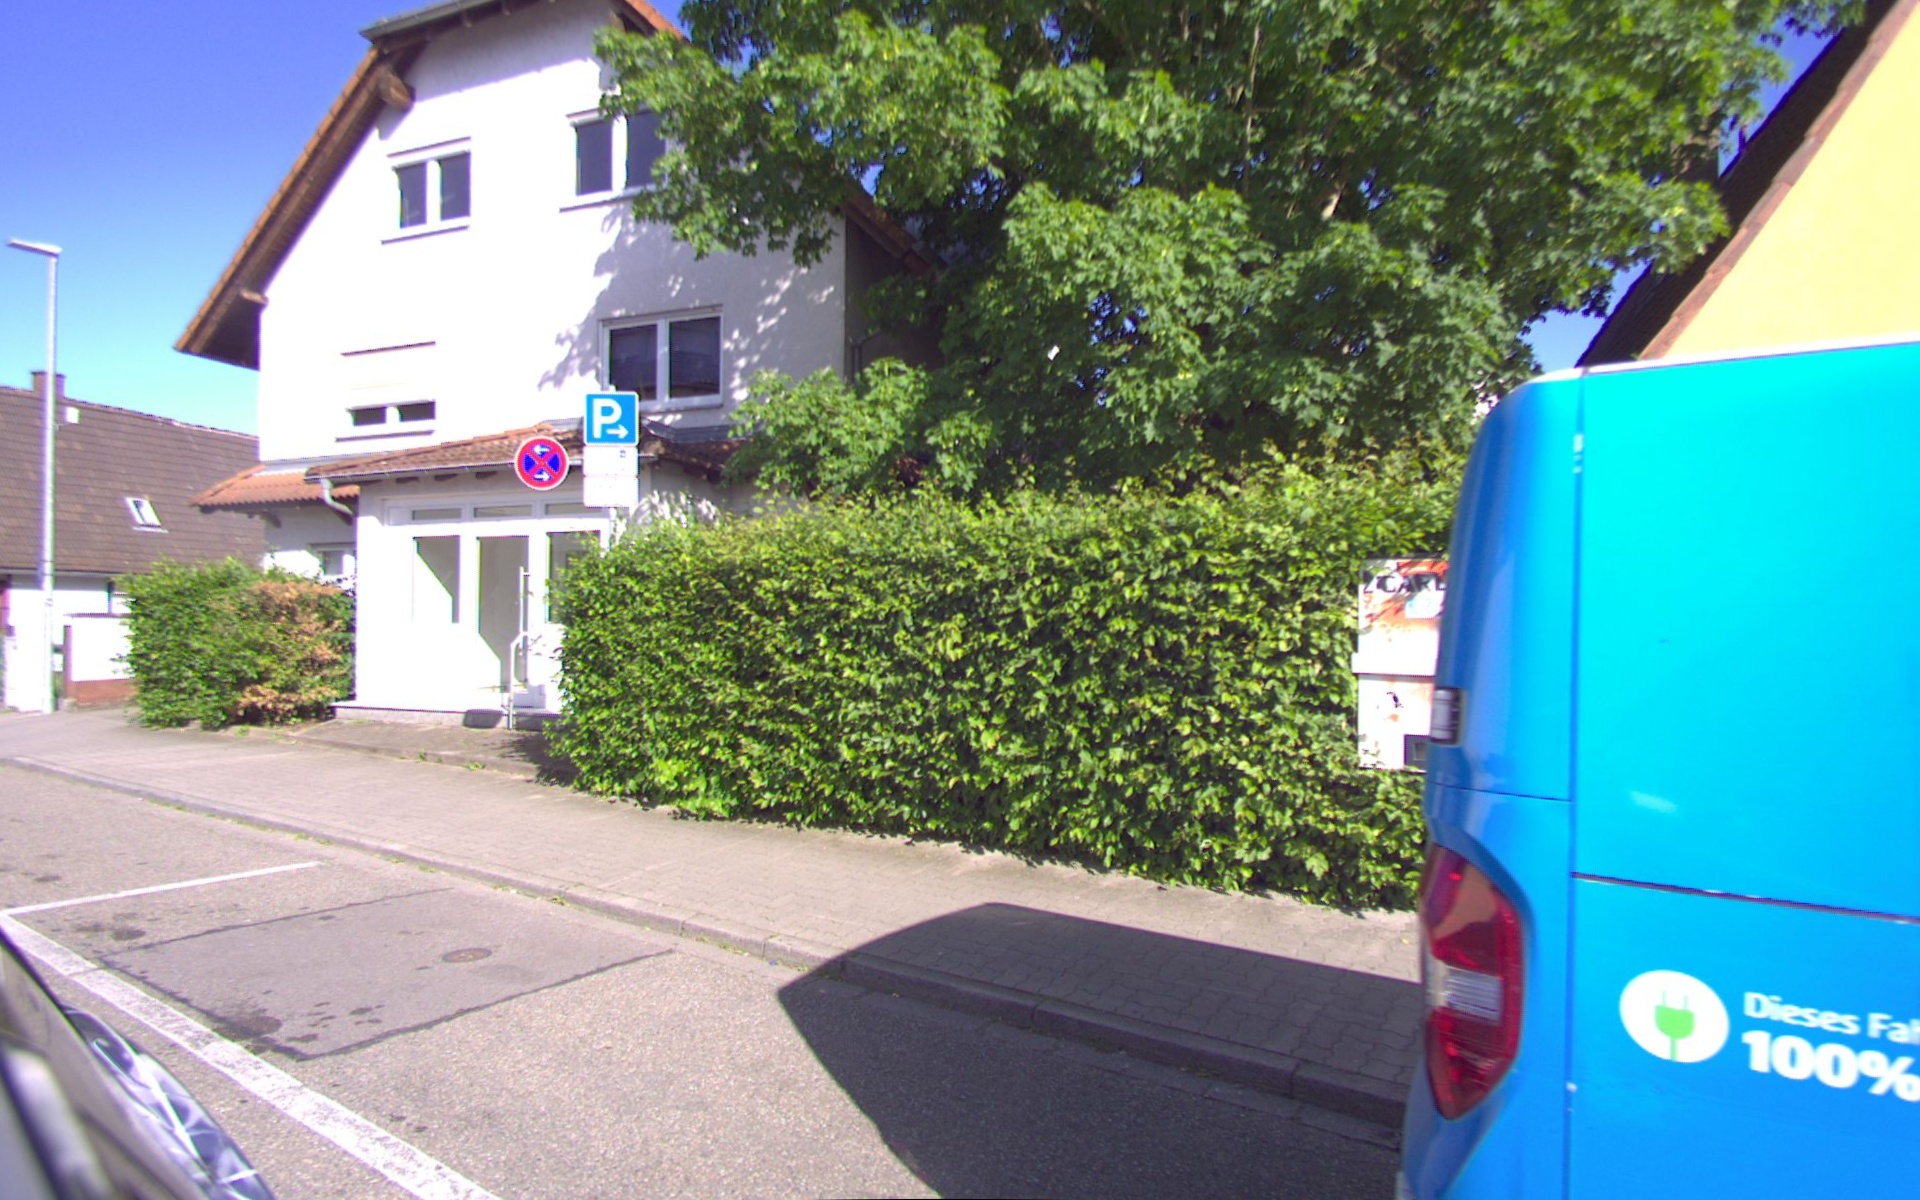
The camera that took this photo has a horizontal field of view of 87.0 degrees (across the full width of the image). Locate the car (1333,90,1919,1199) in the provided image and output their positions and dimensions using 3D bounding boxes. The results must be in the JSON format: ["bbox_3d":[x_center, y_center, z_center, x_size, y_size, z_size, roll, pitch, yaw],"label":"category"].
[{"bbox_3d":[3.093,0.462,0.676,5.056,1.932,1.886,-1,-3,34],"label":"car"}]
